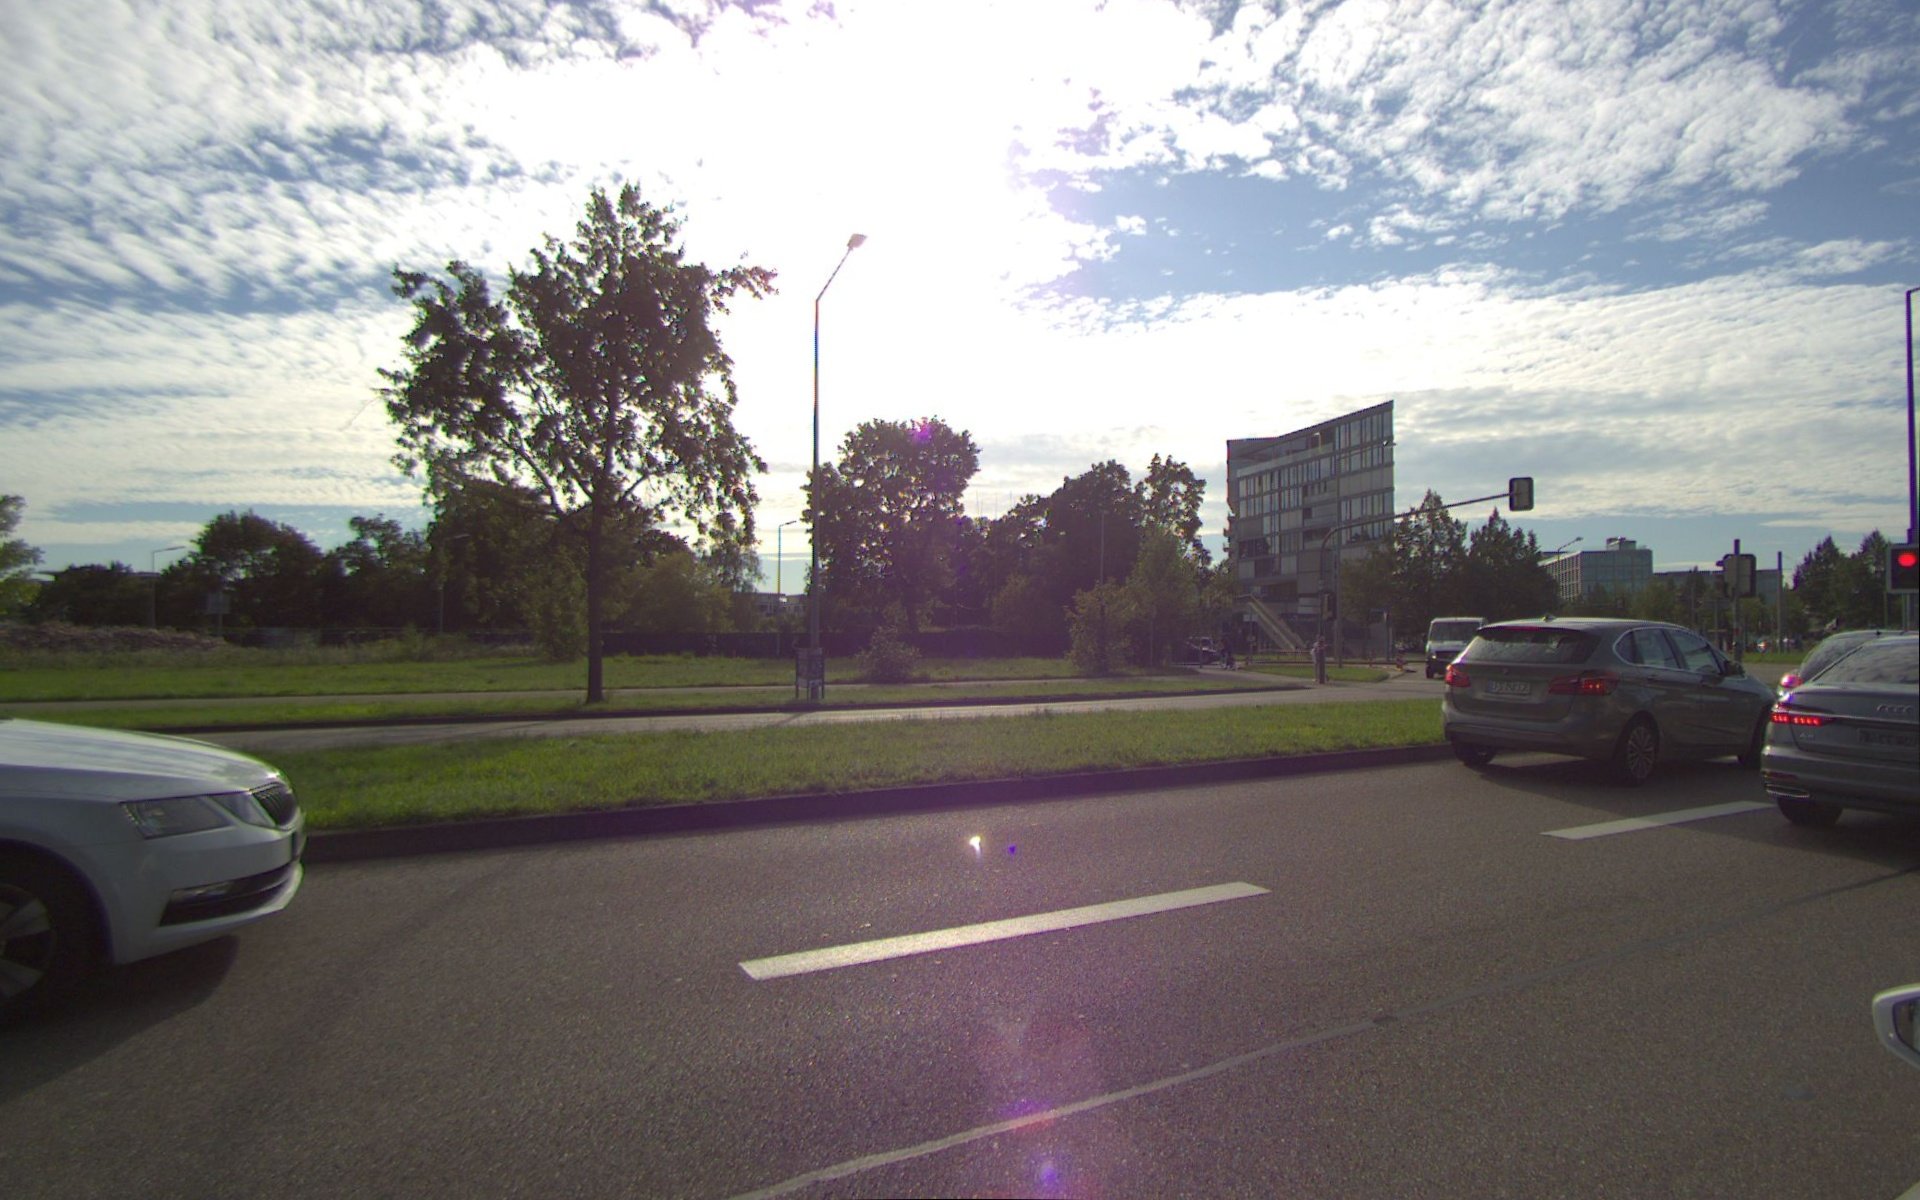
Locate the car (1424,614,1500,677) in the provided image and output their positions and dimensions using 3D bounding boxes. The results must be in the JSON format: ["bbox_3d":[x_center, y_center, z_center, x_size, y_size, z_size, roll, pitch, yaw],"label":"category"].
[{"bbox_3d":[19.647,1.817,39.192,1.966,2.264,5.910,-3,-4,33],"label":"car"}]

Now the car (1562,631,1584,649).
[{"bbox_3d":[56.775,3.731,92.988,1.570,1.433,3.662,-3,-6,33],"label":"car"}]

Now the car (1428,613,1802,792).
[{"bbox_3d":[6.966,0.959,10.616,3.971,1.579,1.721,1,-1,-30],"label":"car"}]

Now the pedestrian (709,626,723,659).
[{"bbox_3d":[-15.623,2.724,64.328,0.723,2.040,0.739,0,-2,-6],"label":"pedestrian"}]

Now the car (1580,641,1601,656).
[{"bbox_3d":[69.271,5.316,110.403,1.591,1.484,3.726,-1,-2,27],"label":"car"}]

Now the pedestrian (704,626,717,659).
[{"bbox_3d":[-15.795,2.690,63.499,0.675,2.040,0.641,0,-2,-5],"label":"pedestrian"}]

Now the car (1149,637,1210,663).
[{"bbox_3d":[15.098,3.438,69.390,4.045,1.770,2.002,0,-2,10],"label":"car"}]

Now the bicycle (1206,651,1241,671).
[{"bbox_3d":[13.184,3.041,50.296,0.638,0.980,1.664,0,-2,-34],"label":"bicycle"}]

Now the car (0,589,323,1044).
[{"bbox_3d":[-4.835,0.694,3.379,4.429,1.518,1.690,2,-2,-31],"label":"car"}]

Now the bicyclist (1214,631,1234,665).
[{"bbox_3d":[13.218,2.403,50.272,0.544,1.690,0.783,2,-3,-34],"label":"bicyclist"}]

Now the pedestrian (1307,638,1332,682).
[{"bbox_3d":[13.119,2.179,36.652,0.609,1.589,0.651,2,-2,-34],"label":"pedestrian"}]

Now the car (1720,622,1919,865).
[{"bbox_3d":[7.875,0.964,7.542,4.559,1.502,1.881,2,-1,-31],"label":"car"}]
